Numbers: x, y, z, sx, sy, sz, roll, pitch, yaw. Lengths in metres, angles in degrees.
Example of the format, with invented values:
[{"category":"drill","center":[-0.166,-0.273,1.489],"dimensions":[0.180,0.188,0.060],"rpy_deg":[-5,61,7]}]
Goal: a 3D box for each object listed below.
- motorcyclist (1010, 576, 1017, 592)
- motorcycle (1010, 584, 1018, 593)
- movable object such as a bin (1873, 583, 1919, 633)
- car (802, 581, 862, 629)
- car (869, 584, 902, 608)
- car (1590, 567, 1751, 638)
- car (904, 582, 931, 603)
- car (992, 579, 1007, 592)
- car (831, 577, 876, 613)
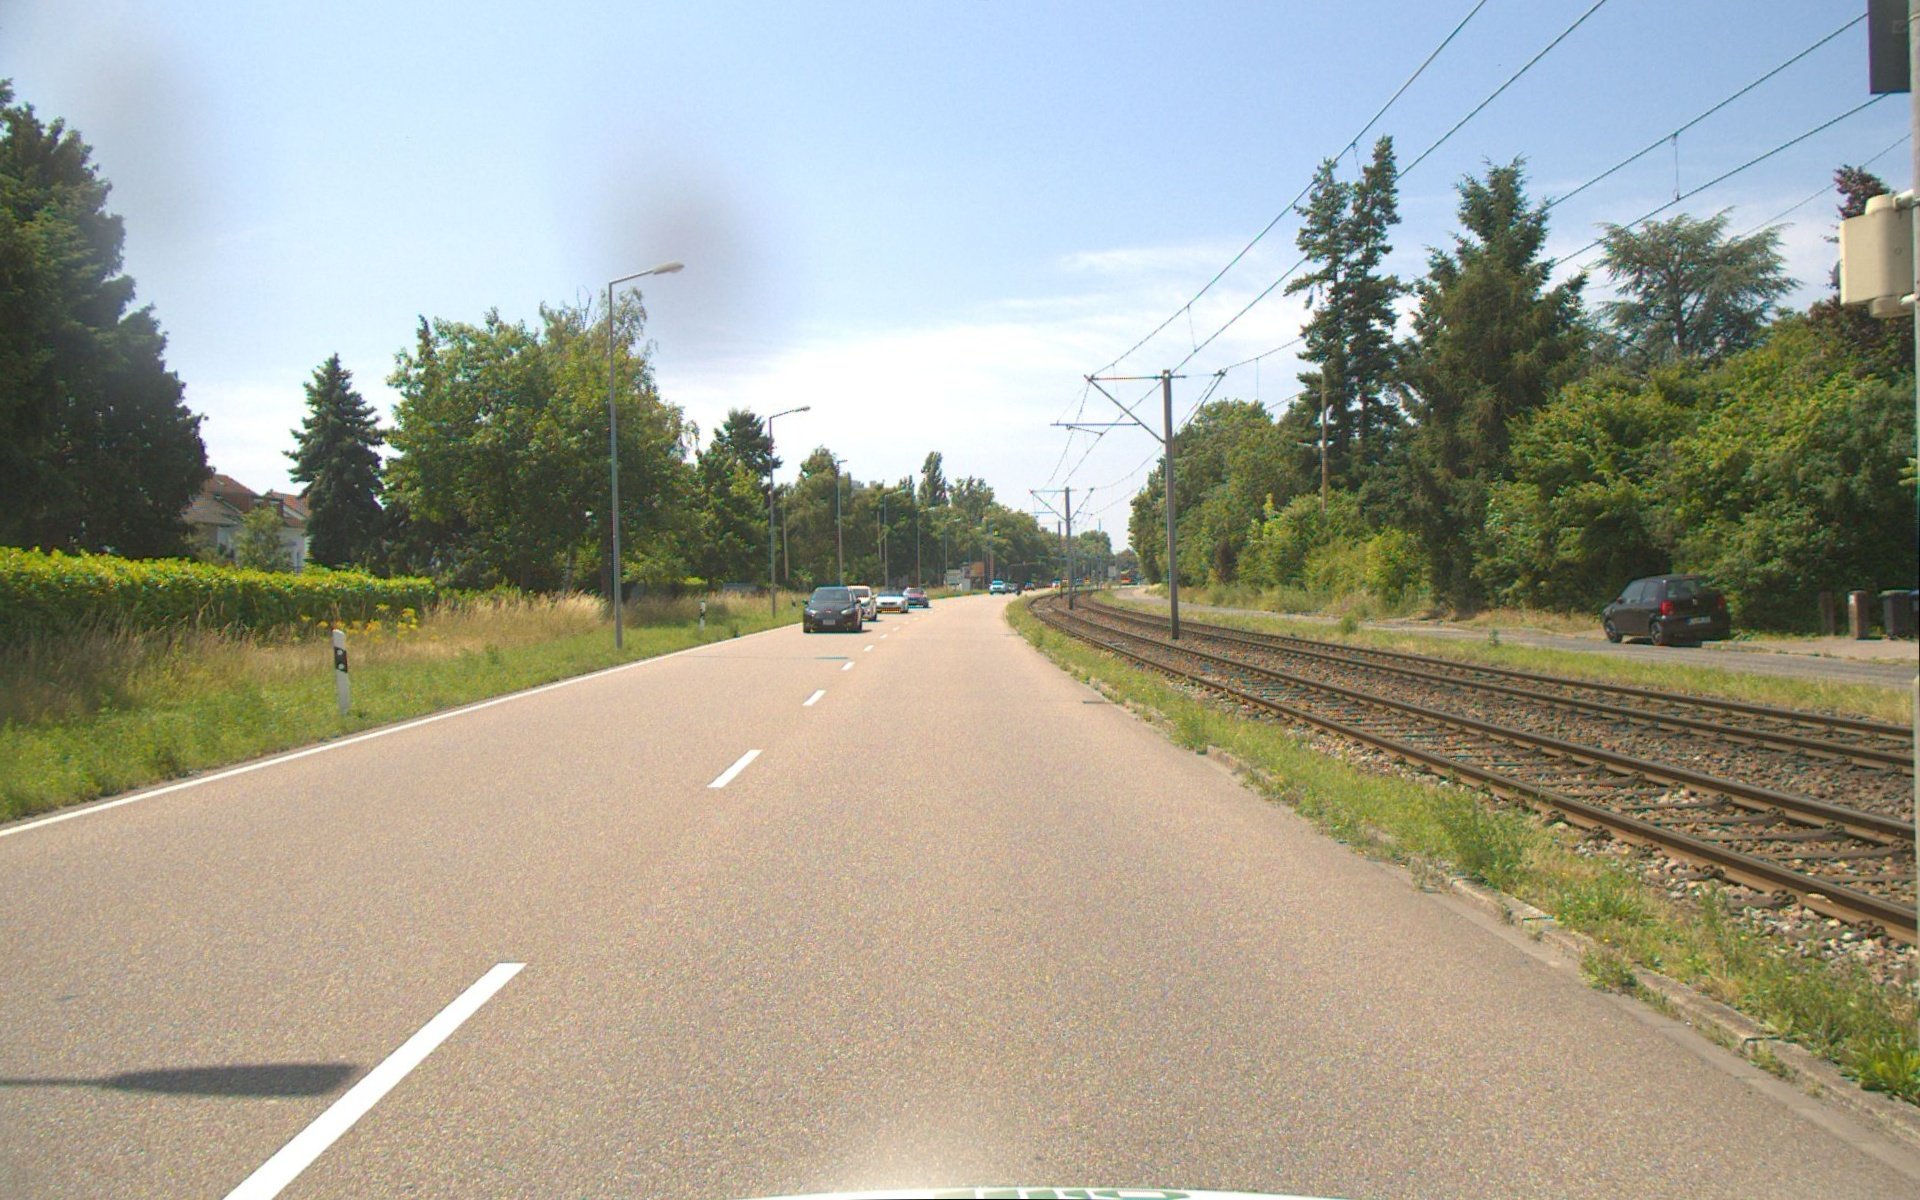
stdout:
[{"category":"motorcyclist","center":[6.656,-1.968,205.536],"dimensions":[0.873,1.938,1.016],"rpy_deg":[-1,0,4]},{"category":"motorcycle","center":[6.723,-1.407,205.445],"dimensions":[0.950,1.137,2.734],"rpy_deg":[-1,0,4]},{"category":"movable object such as a bin","center":[18.435,0.152,32.427],"dimensions":[0.709,0.953,0.621],"rpy_deg":[-1,0,-1]},{"category":"car","center":[-4.229,0.149,55.039],"dimensions":[1.666,1.517,4.440],"rpy_deg":[-1,0,0]},{"category":"car","center":[-4.129,-0.226,92.355],"dimensions":[1.648,1.271,3.909],"rpy_deg":[-1,0,0]},{"category":"car","center":[15.829,0.042,37.086],"dimensions":[1.875,1.496,4.000],"rpy_deg":[-1,0,0]},{"category":"car","center":[-2.850,-0.506,111.089],"dimensions":[1.713,1.324,4.253],"rpy_deg":[-1,0,0]},{"category":"car","center":[5.373,-1.972,224.921],"dimensions":[1.895,1.827,4.713],"rpy_deg":[-1,0,2]},{"category":"car","center":[-4.614,-0.217,72.098],"dimensions":[1.711,1.529,3.707],"rpy_deg":[-1,0,0]}]
